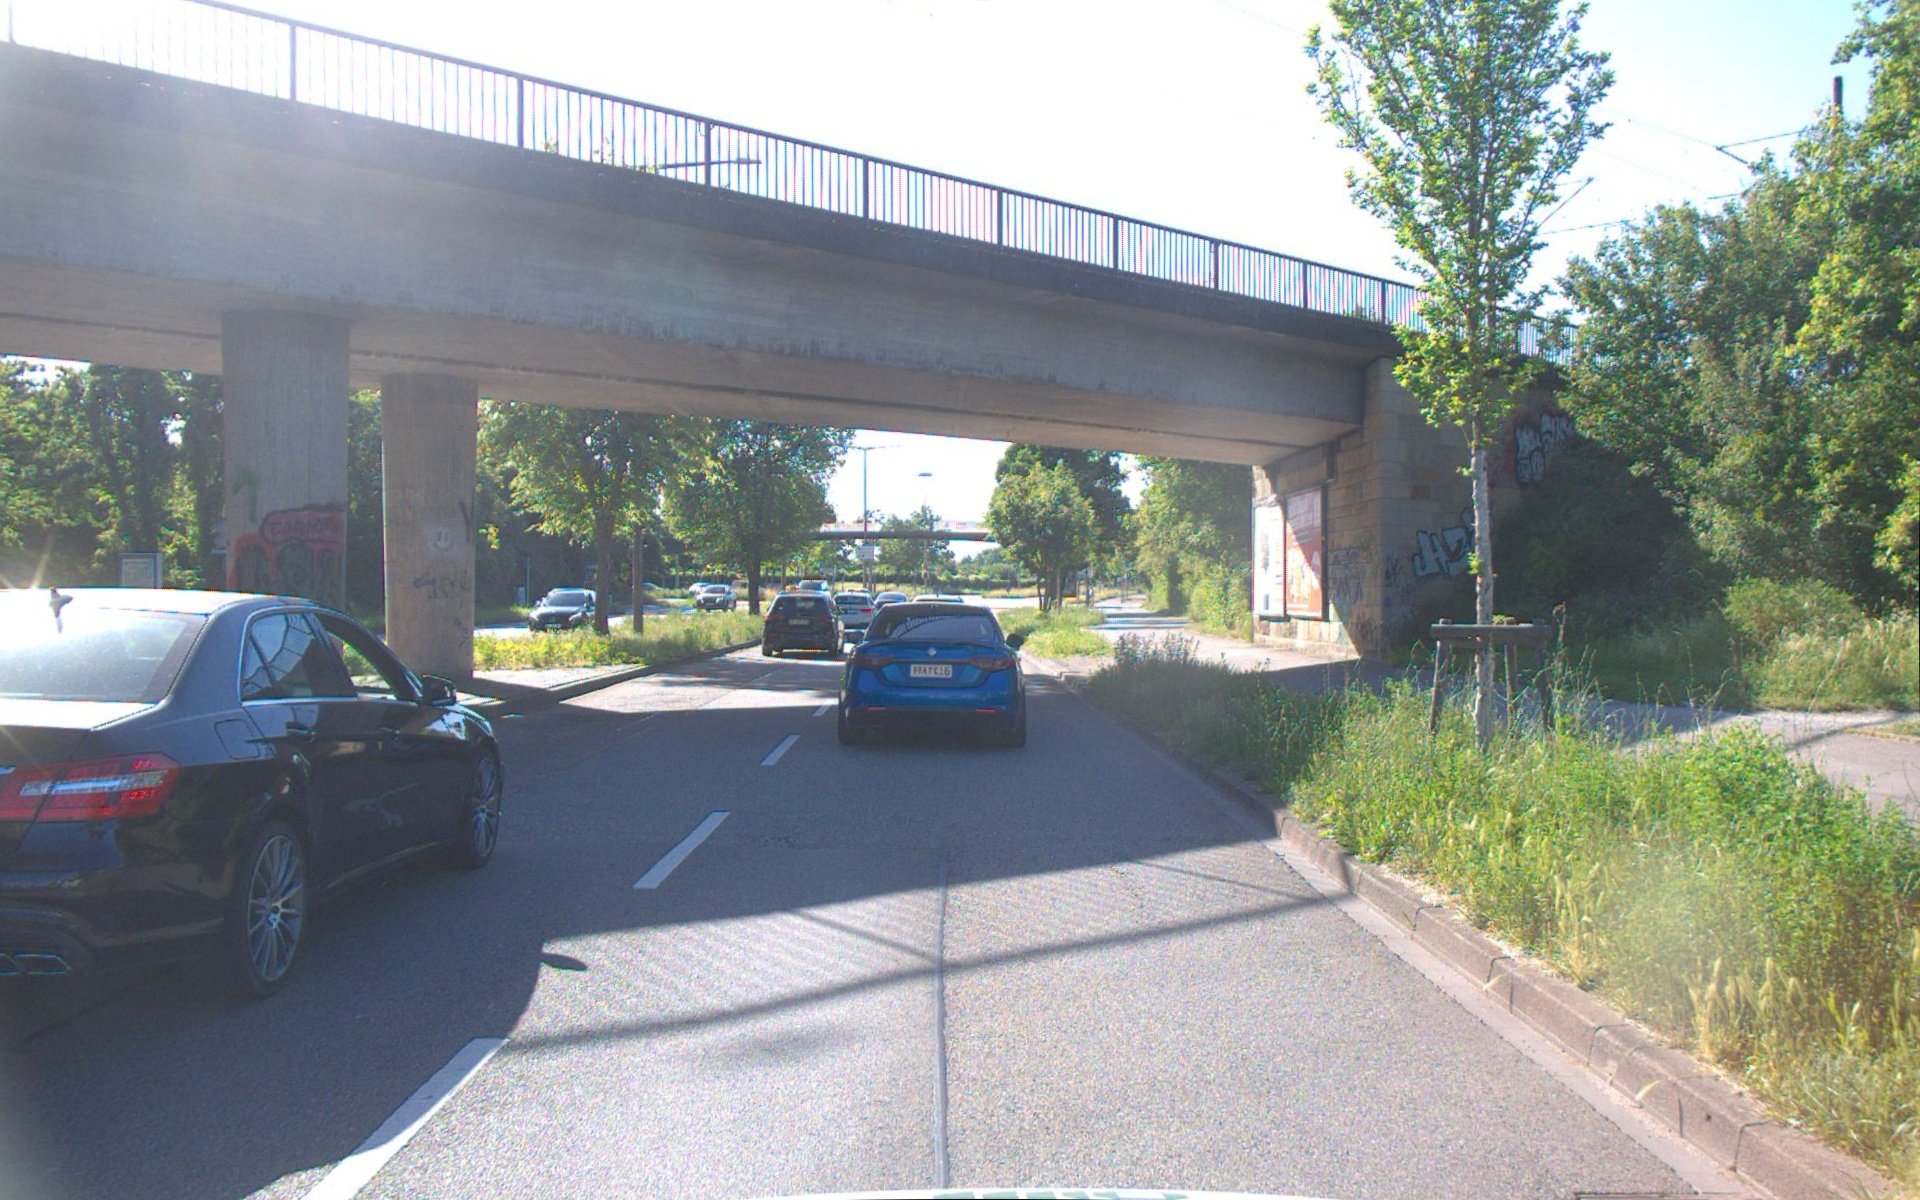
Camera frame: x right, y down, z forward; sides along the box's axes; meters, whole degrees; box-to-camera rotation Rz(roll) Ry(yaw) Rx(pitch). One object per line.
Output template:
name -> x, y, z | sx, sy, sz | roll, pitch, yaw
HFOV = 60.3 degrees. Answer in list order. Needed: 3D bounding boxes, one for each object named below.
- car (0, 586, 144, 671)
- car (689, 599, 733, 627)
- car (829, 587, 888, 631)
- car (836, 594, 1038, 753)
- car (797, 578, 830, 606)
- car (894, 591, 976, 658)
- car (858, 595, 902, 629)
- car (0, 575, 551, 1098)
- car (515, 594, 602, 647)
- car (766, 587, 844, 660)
car -> -18.969, 0.571, 34.636 | 1.694, 1.645, 4.179 | -1, 0, 0
car -> -15.279, 0.789, 101.597 | 1.942, 1.579, 4.592 | 2, 0, 0
car -> -3.566, 0.311, 58.917 | 1.845, 1.479, 4.525 | 1, 0, -1
car -> -0.238, 0.688, 17.494 | 1.845, 1.431, 4.223 | 1, 0, -1
car -> -10.451, -0.568, 118.367 | 1.953, 1.963, 5.244 | 0, 0, -1
car -> -0.602, 0.567, 39.961 | 1.845, 1.479, 4.525 | 1, 0, -1
car -> -3.671, 0.548, 76.397 | 1.845, 1.479, 4.525 | 1, 0, -1
car -> -3.367, 0.670, 7.238 | 1.919, 1.509, 4.918 | 1, 0, 0
car -> -12.887, 0.644, 53.349 | 1.805, 1.570, 3.999 | -3, 0, -1
car -> -3.662, 0.538, 39.702 | 1.674, 1.626, 4.221 | 1, 0, -3
